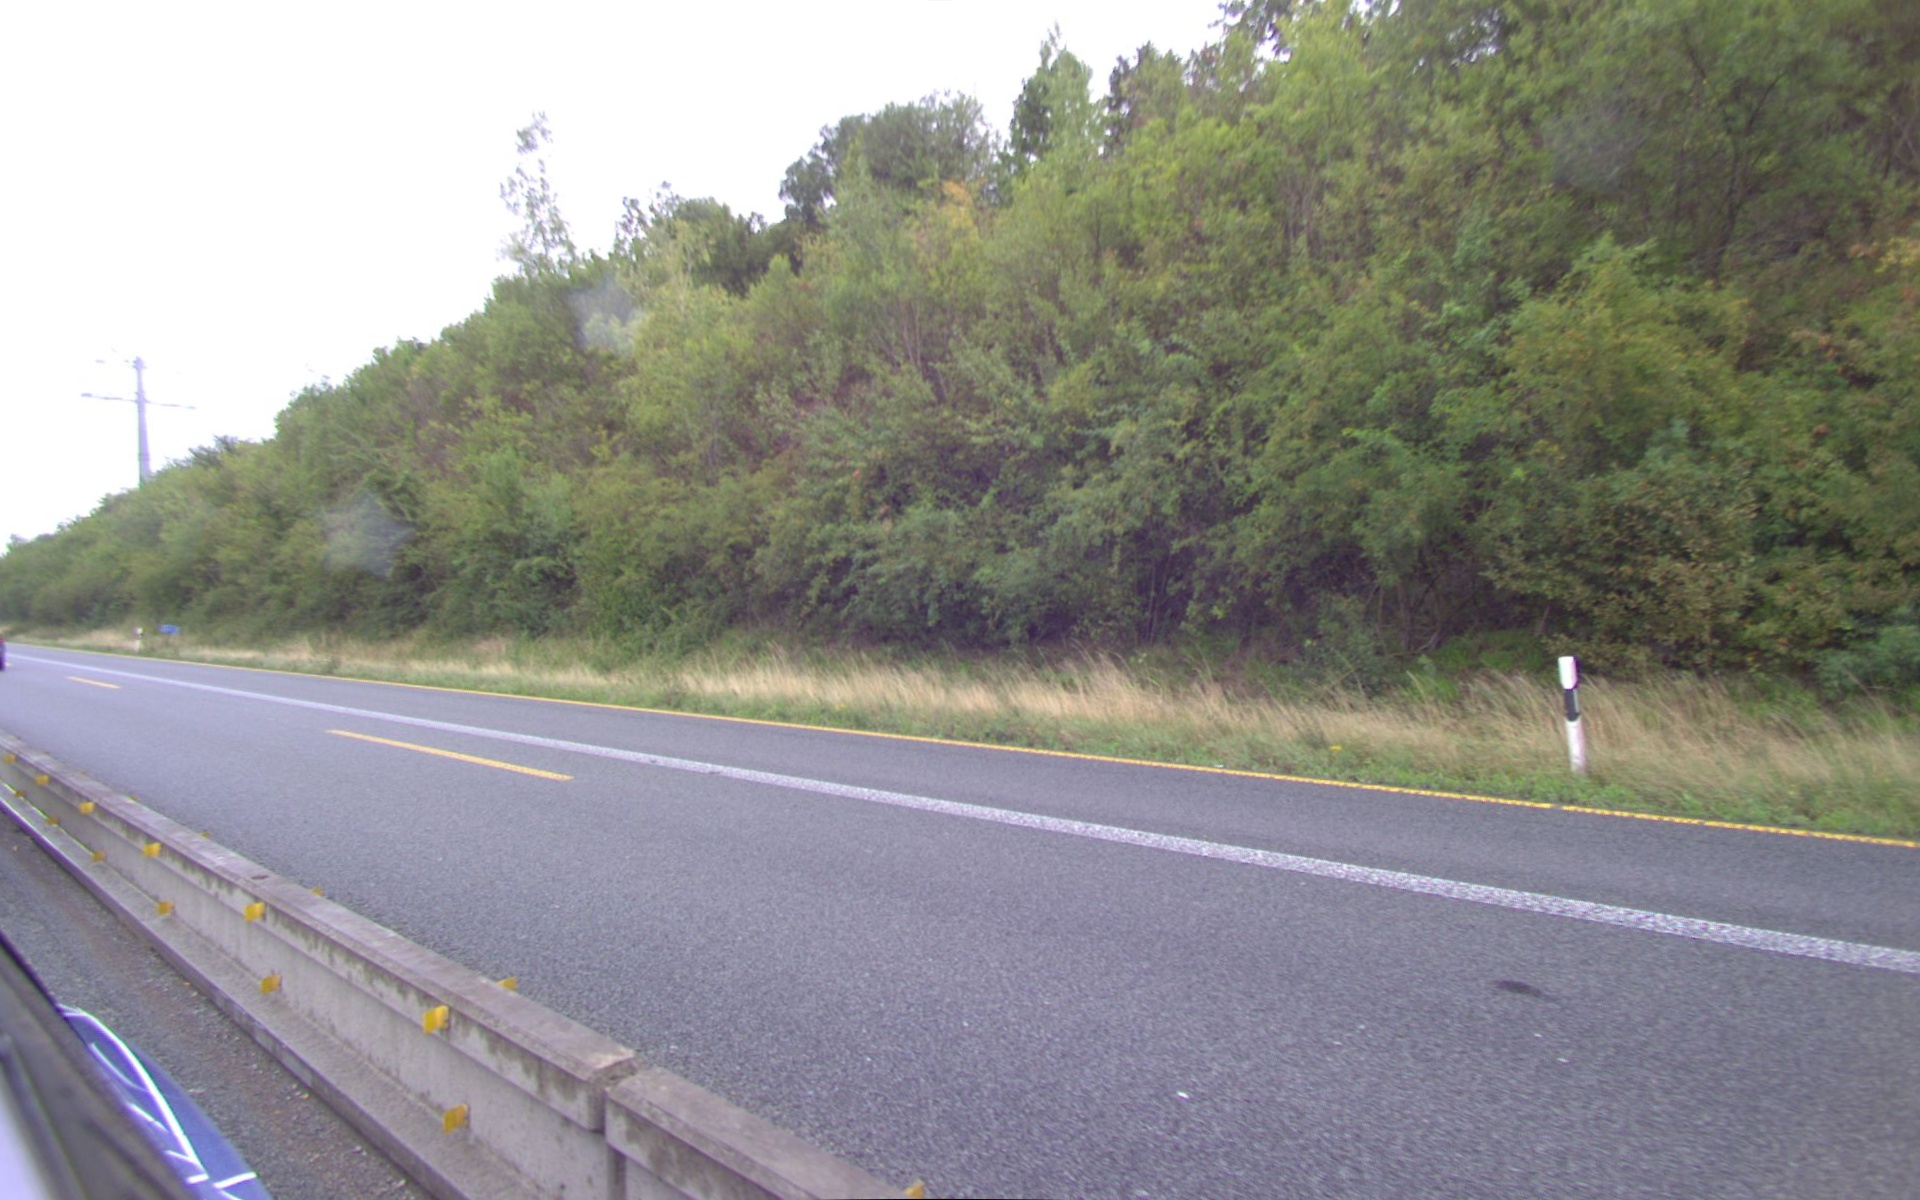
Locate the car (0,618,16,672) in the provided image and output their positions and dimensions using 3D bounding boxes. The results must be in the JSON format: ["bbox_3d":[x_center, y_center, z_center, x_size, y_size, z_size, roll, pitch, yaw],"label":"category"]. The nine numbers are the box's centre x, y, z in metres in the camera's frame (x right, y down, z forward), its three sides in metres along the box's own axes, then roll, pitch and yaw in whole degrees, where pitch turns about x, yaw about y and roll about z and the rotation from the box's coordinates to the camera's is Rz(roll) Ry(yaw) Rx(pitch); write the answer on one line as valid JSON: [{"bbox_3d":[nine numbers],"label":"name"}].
[{"bbox_3d":[-28.965,1.303,29.363,4.393,1.499,1.792,-1,0,40],"label":"car"}]
